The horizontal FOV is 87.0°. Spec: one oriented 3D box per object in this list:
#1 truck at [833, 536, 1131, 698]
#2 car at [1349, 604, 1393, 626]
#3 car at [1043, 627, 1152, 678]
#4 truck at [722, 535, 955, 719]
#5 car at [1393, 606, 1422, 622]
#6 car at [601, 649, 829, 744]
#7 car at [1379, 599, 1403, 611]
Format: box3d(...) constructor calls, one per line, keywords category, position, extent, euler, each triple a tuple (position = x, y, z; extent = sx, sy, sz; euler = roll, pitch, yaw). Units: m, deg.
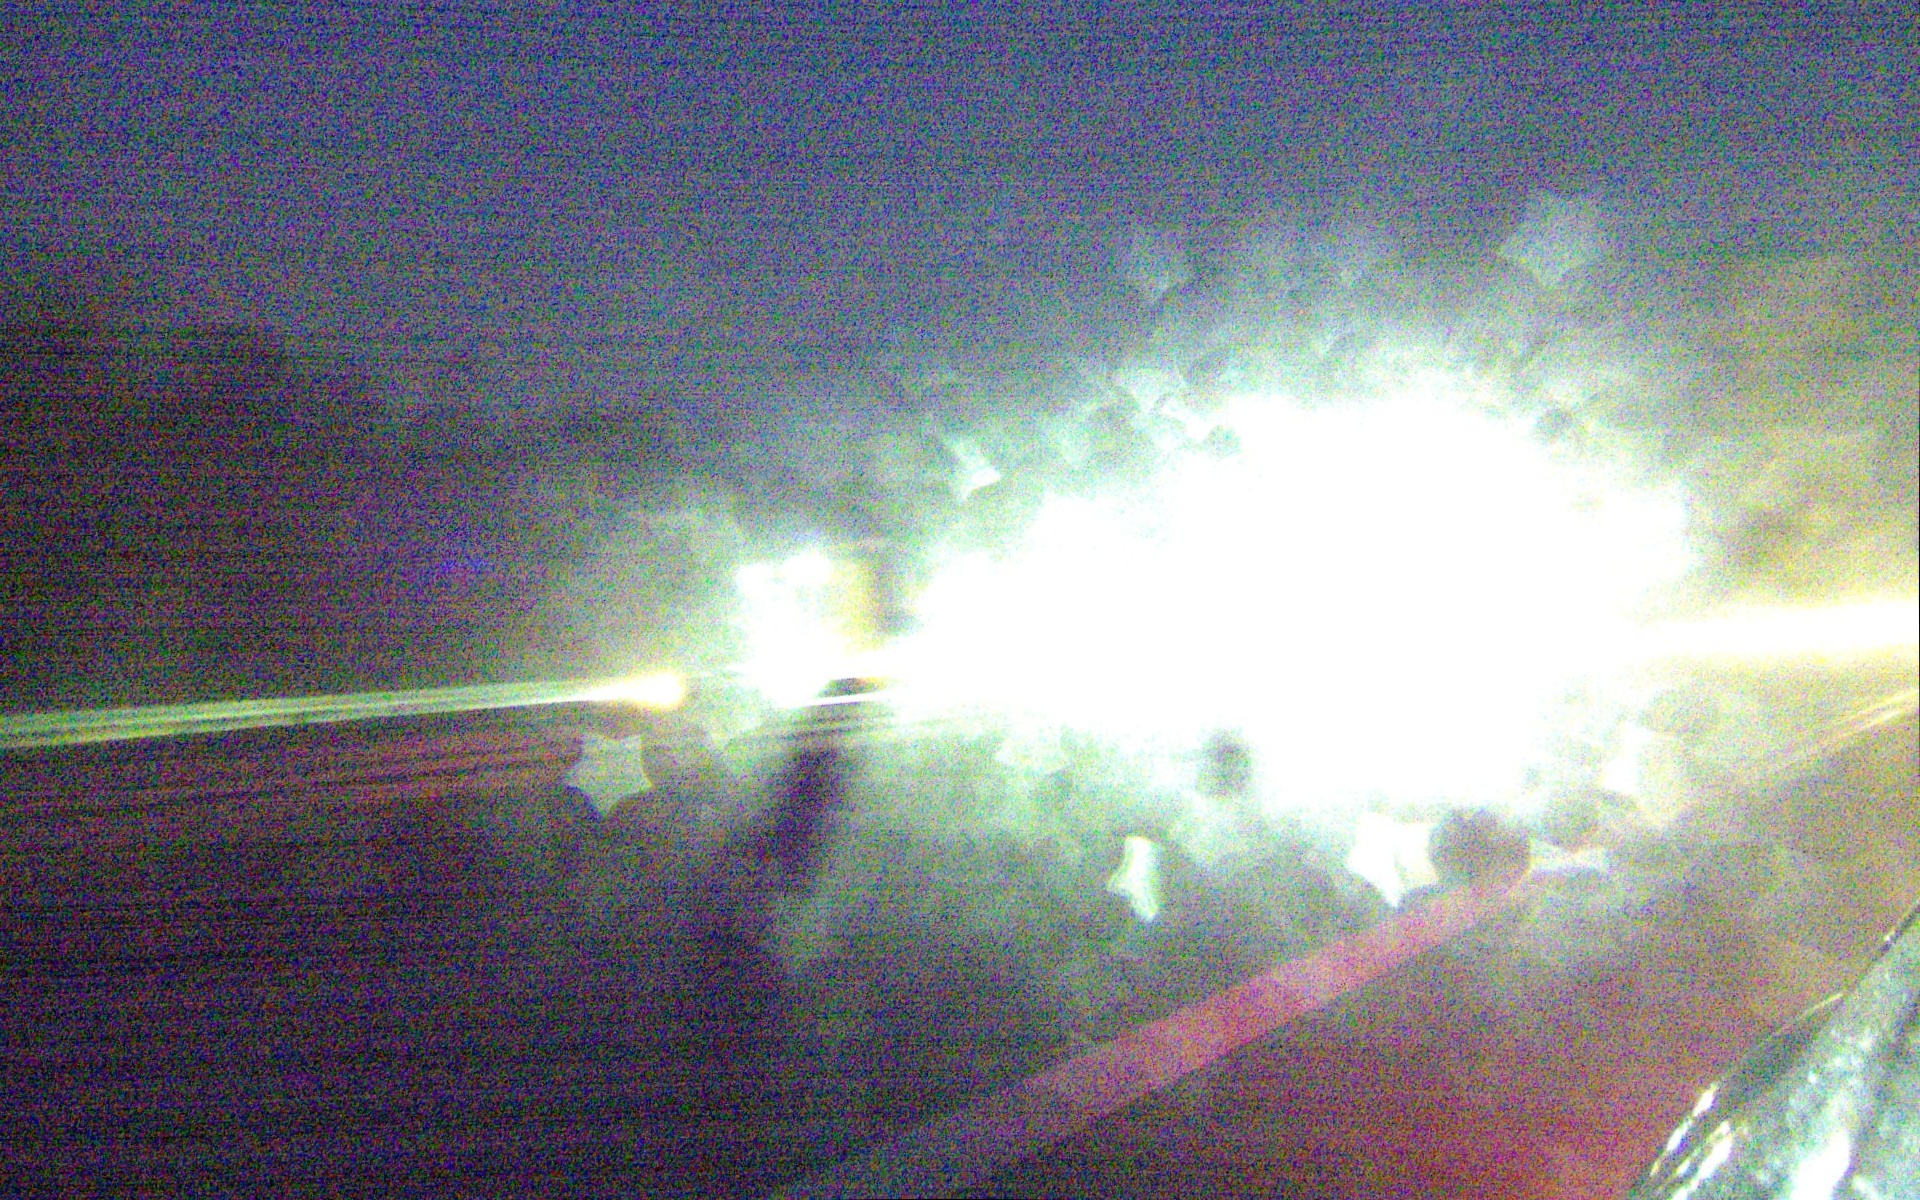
box3d(category="truck", position=(1.420, 0.161, 33.146), extent=(2.749, 4.273, 13.659), euler=(2, 3, 34))
box3d(category="car", position=(25.476, 0.922, 62.641), extent=(1.701, 1.310, 3.942), euler=(2, 0, 34))
box3d(category="car", position=(4.220, 1.536, 30.607), extent=(1.701, 1.310, 3.942), euler=(2, 0, 34))
box3d(category="truck", position=(-3.014, 0.480, 26.735), extent=(2.750, 4.274, 6.117), euler=(2, 3, 35))
box3d(category="car", position=(37.981, 1.170, 85.860), extent=(1.700, 1.310, 3.945), euler=(2, 0, 32))
box3d(category="car", position=(-4.322, 1.654, 18.412), extent=(1.701, 1.310, 3.943), euler=(2, 0, 33))
box3d(category="car", position=(48.406, 0.596, 113.715), extent=(1.702, 1.310, 3.941), euler=(2, 0, 35))
